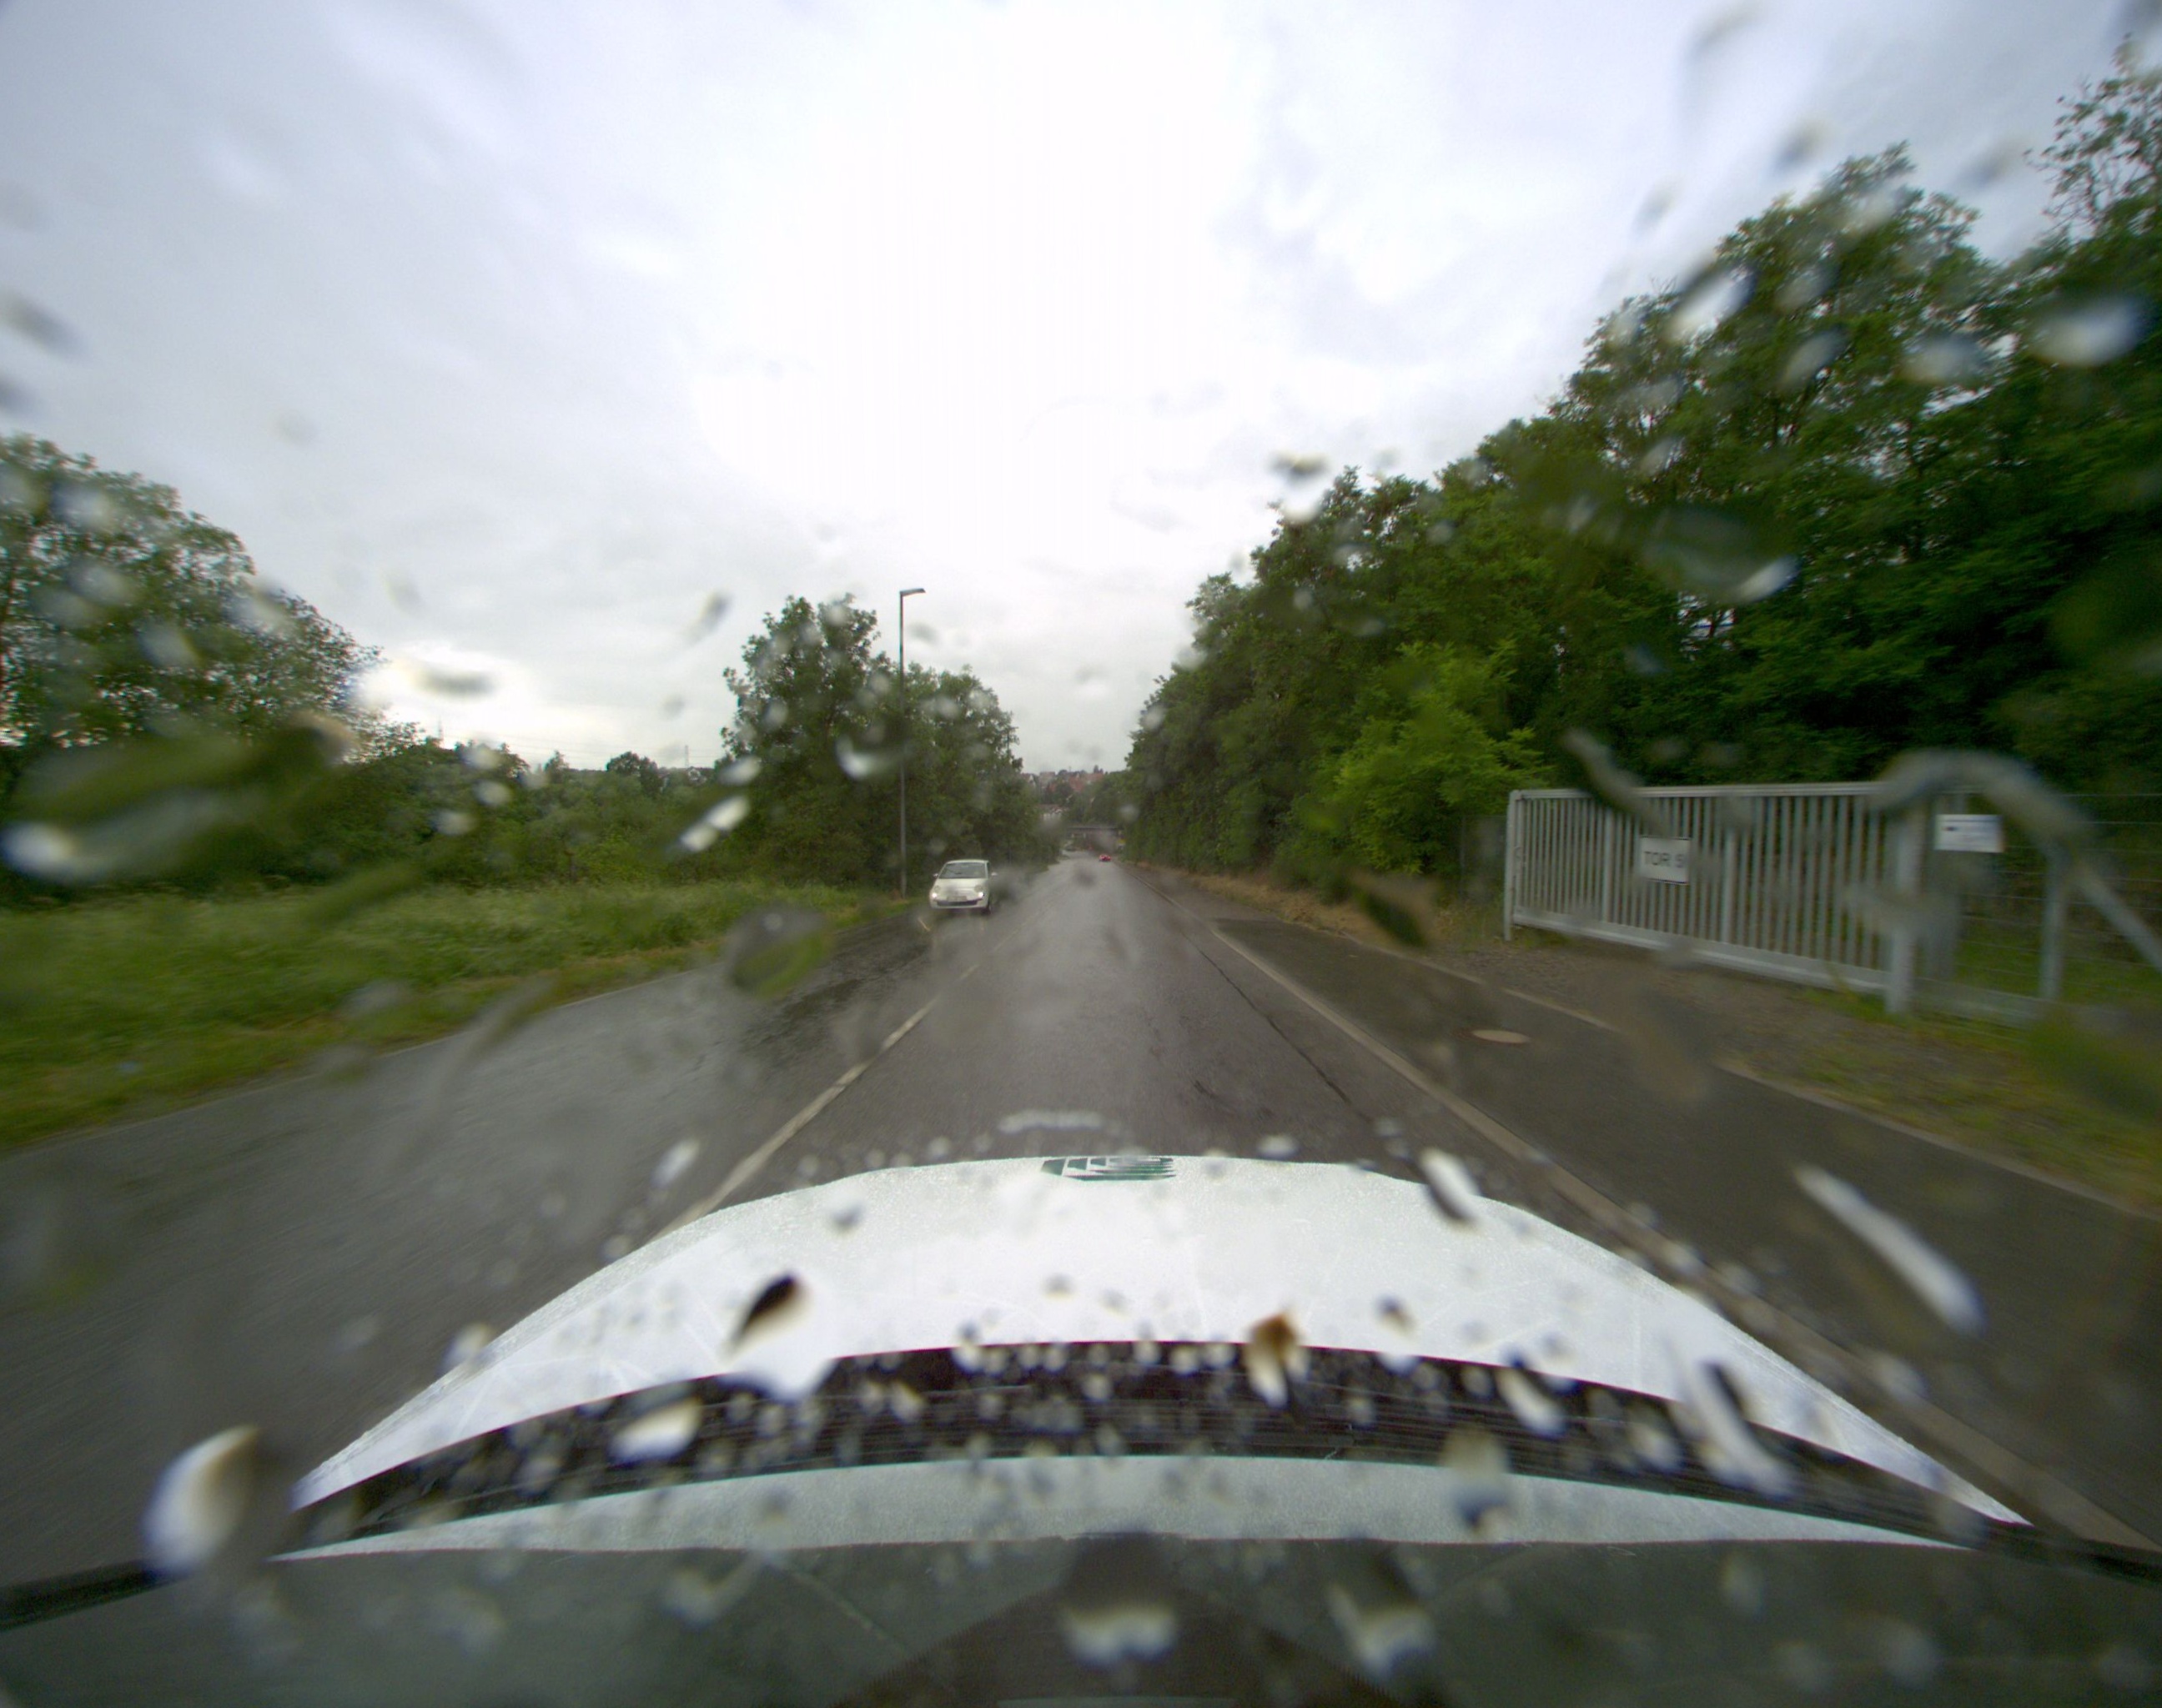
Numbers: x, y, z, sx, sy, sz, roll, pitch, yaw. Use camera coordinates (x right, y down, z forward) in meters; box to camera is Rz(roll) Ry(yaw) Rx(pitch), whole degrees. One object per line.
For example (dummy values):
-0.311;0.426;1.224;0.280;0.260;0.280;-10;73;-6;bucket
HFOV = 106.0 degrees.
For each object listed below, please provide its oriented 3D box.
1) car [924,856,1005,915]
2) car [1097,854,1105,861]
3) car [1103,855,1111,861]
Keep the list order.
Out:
-3.204;0.832;23.012;1.632;1.488;3.456;-1;0;2;car
4.591;0.766;184.015;1.761;1.563;4.002;-1;0;2;car
5.735;0.879;177.184;1.761;1.380;4.002;-1;0;2;car
